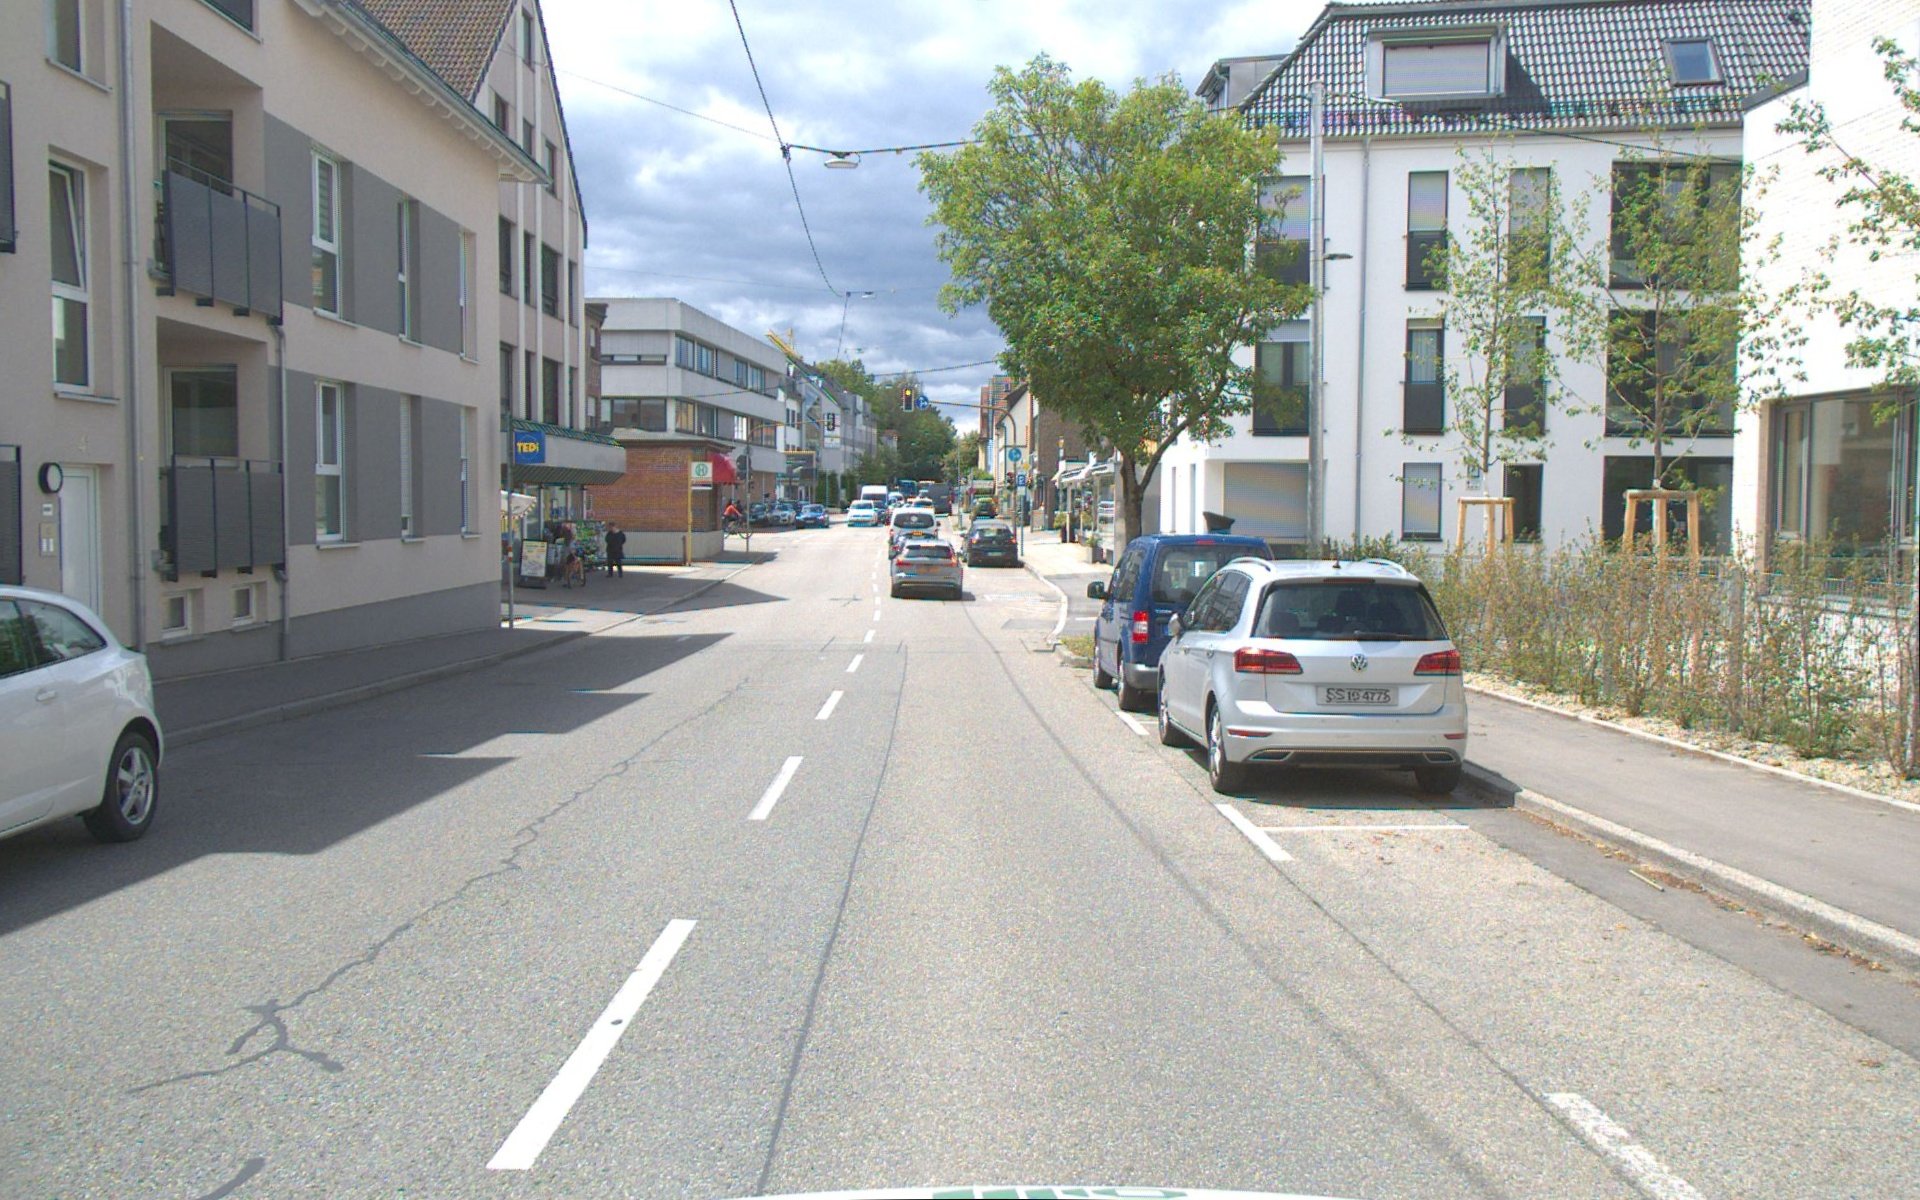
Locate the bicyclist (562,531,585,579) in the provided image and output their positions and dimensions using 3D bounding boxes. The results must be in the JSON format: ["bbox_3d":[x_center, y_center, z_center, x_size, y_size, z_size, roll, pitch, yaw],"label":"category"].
[{"bbox_3d":[-9.847,-1.144,42.134,0.448,1.199,0.625,0,2,-1],"label":"bicyclist"}]

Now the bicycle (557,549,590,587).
[{"bbox_3d":[-9.834,-0.835,42.131,0.457,0.876,1.777,2,3,-1],"label":"bicycle"}]

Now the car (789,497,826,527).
[{"bbox_3d":[-9.393,-5.397,102.101,1.834,1.668,4.001,2,2,1],"label":"car"}]

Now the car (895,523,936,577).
[{"bbox_3d":[-1.421,-1.633,52.796,1.248,1.553,3.051,0,5,-2],"label":"car"}]

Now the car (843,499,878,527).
[{"bbox_3d":[-6.349,-5.527,105.533,1.834,1.668,4.001,2,2,1],"label":"car"}]

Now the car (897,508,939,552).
[{"bbox_3d":[-1.847,-3.093,73.384,1.799,1.894,3.850,1,2,-1],"label":"car"}]

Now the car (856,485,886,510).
[{"bbox_3d":[-6.449,-7.410,120.013,1.834,1.668,4.001,0,1,1],"label":"car"}]

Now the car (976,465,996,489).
[{"bbox_3d":[2.433,-11.603,156.665,1.765,2.048,4.000,0,1,-1],"label":"car"}]

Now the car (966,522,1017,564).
[{"bbox_3d":[1.088,-2.052,59.063,1.717,1.394,4.001,1,3,0],"label":"car"}]

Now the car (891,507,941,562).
[{"bbox_3d":[-1.641,-2.510,62.673,1.799,1.893,3.851,1,4,-1],"label":"car"}]

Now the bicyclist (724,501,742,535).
[{"bbox_3d":[-10.859,-3.924,79.073,0.756,1.634,0.581,1,1,1],"label":"bicyclist"}]

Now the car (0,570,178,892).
[{"bbox_3d":[-5.172,0.598,7.494,1.614,1.443,3.697,1,1,-2],"label":"car"}]

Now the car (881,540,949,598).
[{"bbox_3d":[-1.160,-0.840,43.331,1.708,1.441,4.000,0,2,-1],"label":"car"}]

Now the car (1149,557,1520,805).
[{"bbox_3d":[2.609,0.460,12.600,1.750,1.535,4.364,1,1,-1],"label":"car"}]

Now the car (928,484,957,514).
[{"bbox_3d":[-1.494,-8.677,142.756,2.387,2.358,5.326,2,2,-1],"label":"car"}]

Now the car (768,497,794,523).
[{"bbox_3d":[-11.525,-5.784,106.536,1.356,1.567,3.398,0,1,-1],"label":"car"}]

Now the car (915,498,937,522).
[{"bbox_3d":[-2.534,-6.687,122.814,1.602,1.684,3.850,1,1,-1],"label":"car"}]

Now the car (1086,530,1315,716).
[{"bbox_3d":[2.534,0.170,18.474,1.807,1.798,4.515,1,1,-1],"label":"car"}]

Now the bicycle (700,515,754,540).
[{"bbox_3d":[-11.139,-3.466,79.083,2.471,1.194,0.585,0,1,1],"label":"bicycle"}]

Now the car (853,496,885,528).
[{"bbox_3d":[-6.154,-5.973,112.553,1.953,2.048,4.000,2,1,-1],"label":"car"}]

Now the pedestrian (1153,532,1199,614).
[{"bbox_3d":[4.470,-0.568,34.290,0.730,1.676,0.609,-2,2,-34],"label":"pedestrian"}]

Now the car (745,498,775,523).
[{"bbox_3d":[-12.251,-5.464,101.406,1.520,1.400,3.398,0,1,-1],"label":"car"}]

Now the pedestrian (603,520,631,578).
[{"bbox_3d":[-9.824,-1.455,47.382,0.615,1.630,0.563,1,1,4],"label":"pedestrian"}]
